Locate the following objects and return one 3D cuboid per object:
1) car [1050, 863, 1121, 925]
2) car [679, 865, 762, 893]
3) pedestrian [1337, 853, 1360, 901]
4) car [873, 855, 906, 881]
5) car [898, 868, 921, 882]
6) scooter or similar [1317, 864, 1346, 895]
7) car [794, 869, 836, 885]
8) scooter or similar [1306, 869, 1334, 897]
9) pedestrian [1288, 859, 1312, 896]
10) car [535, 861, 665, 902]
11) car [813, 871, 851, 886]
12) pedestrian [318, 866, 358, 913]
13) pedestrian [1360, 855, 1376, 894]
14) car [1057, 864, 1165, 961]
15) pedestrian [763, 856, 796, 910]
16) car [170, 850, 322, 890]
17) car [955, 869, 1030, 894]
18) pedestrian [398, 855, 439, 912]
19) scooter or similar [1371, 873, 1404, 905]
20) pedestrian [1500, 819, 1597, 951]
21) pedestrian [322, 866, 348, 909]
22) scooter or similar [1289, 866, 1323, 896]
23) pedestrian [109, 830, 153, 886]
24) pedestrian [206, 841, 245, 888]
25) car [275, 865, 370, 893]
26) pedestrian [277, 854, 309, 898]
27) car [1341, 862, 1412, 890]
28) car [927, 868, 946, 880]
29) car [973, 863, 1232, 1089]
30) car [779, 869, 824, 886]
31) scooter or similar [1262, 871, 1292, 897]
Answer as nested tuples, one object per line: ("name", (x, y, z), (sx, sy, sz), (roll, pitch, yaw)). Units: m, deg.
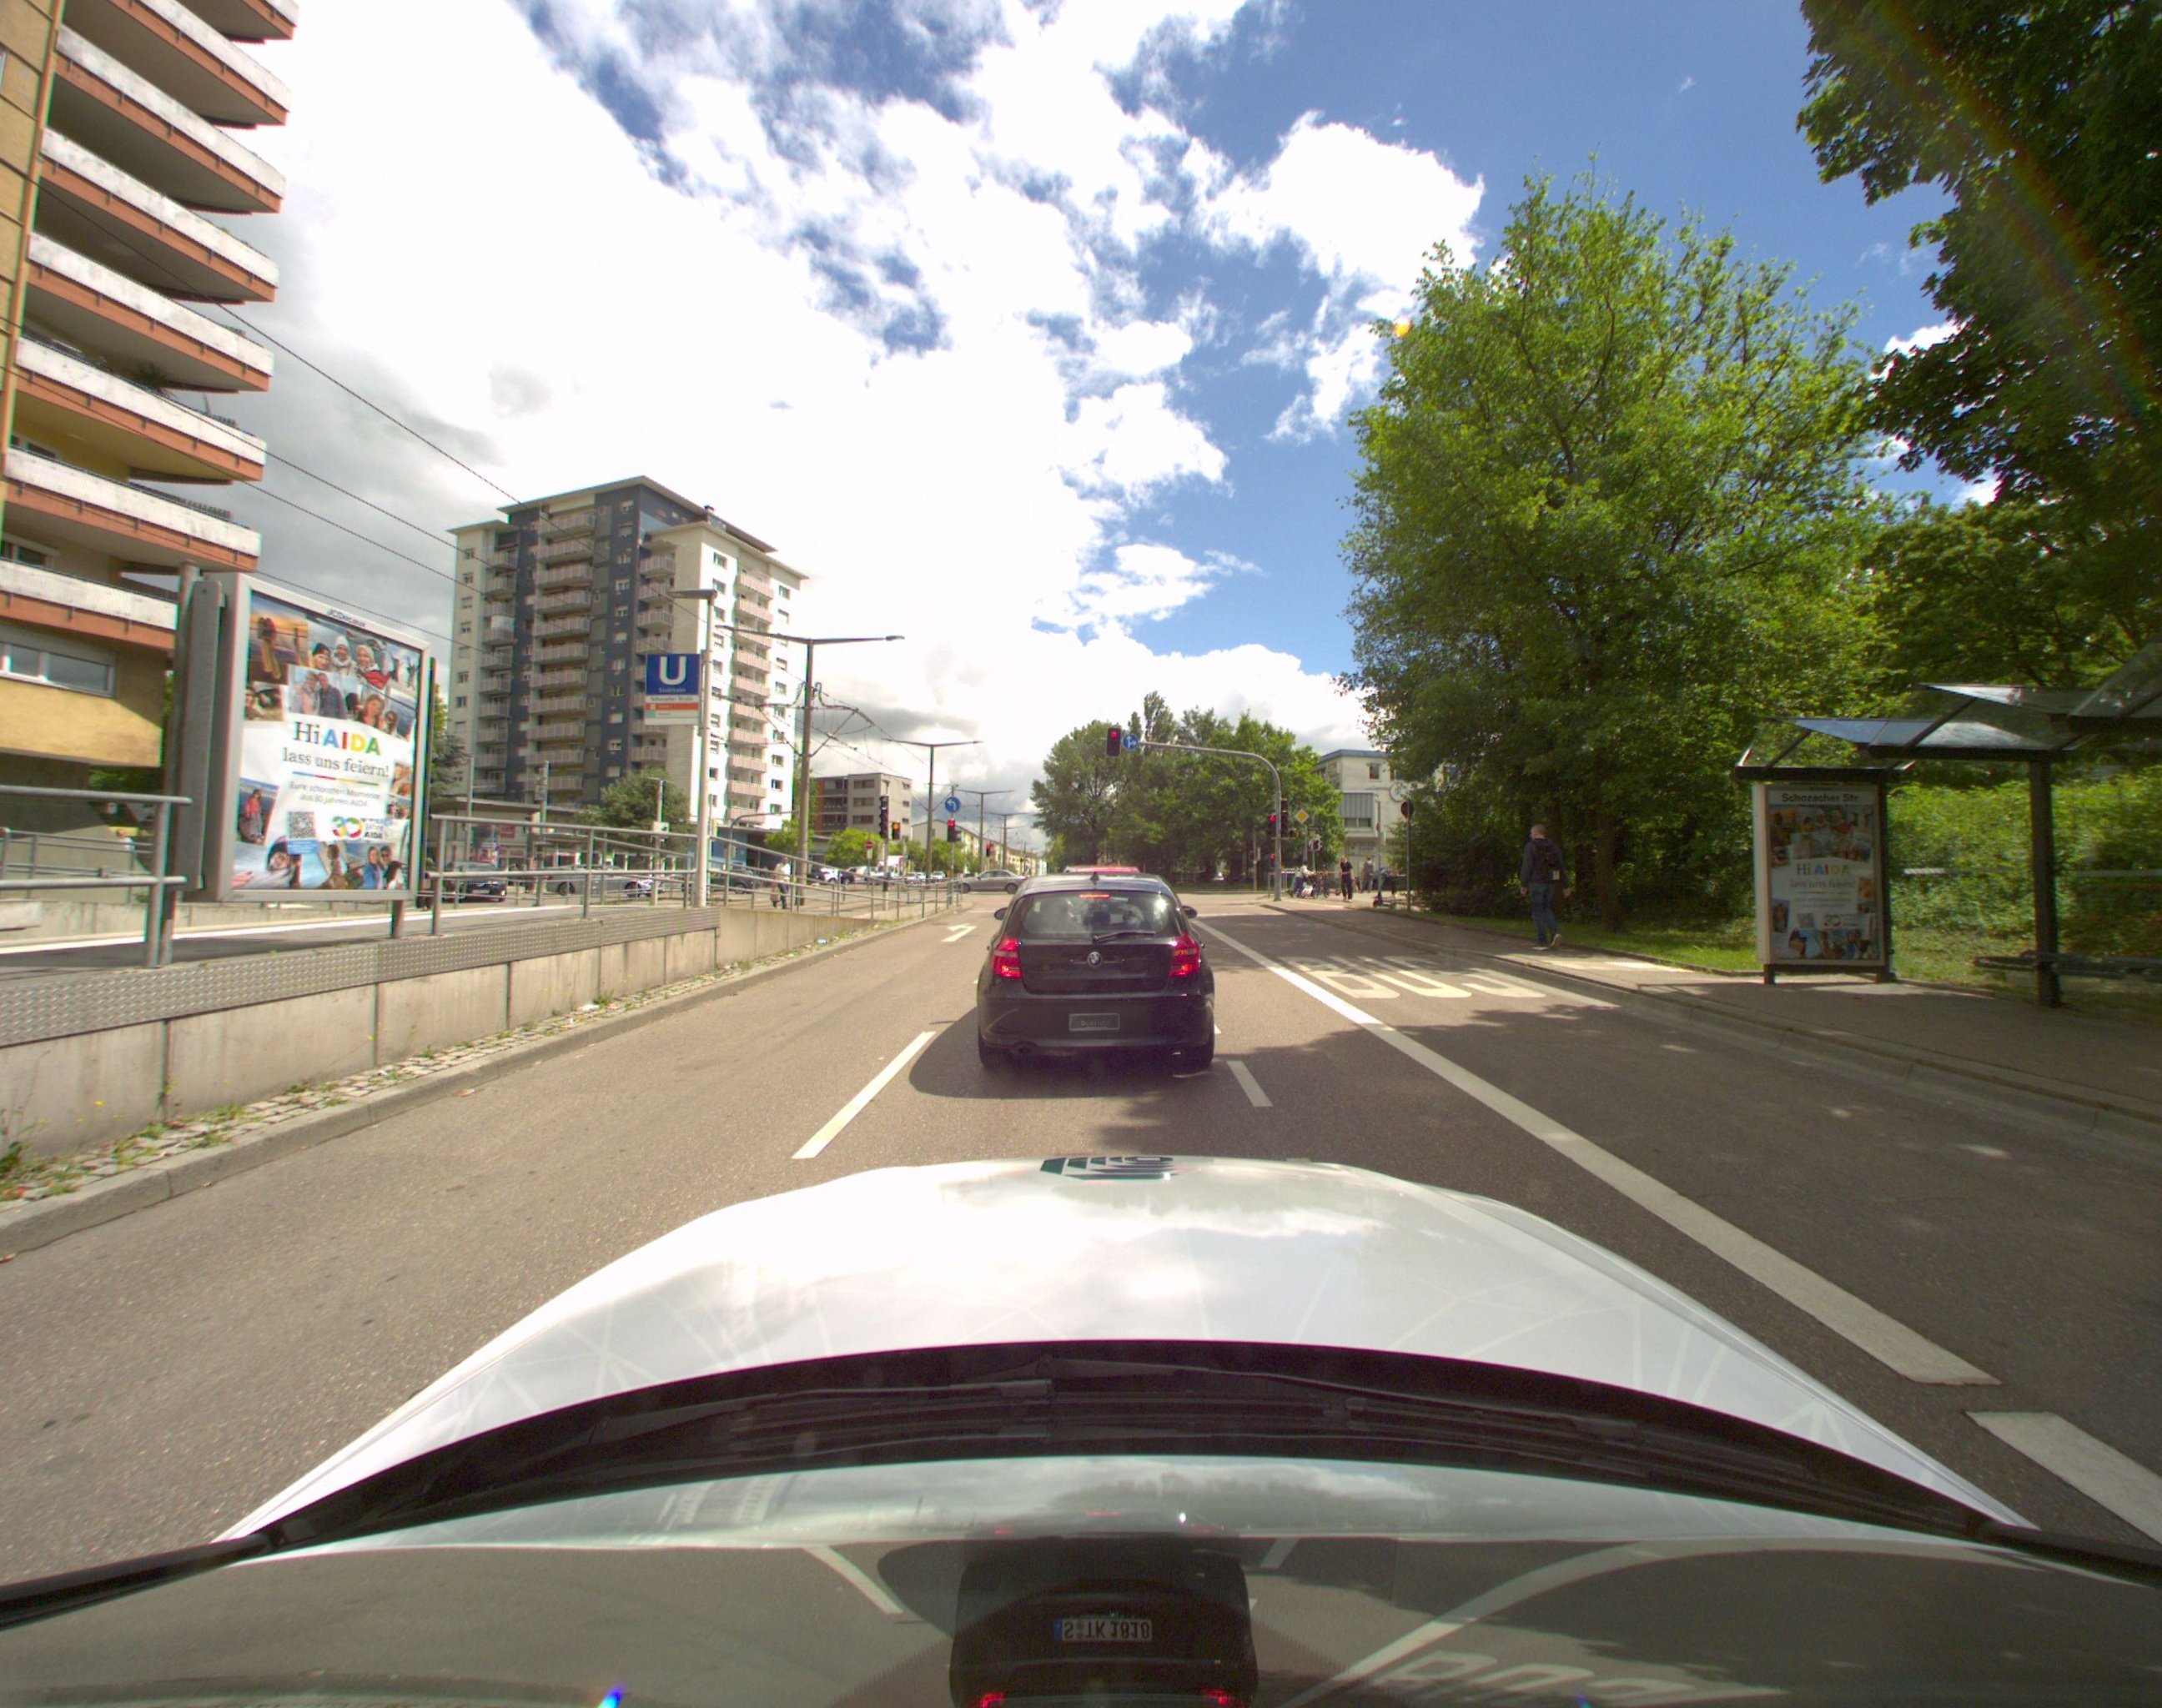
("car", (0.113, 0.961, 20.878), (1.649, 1.419, 3.516), (0, 0, 0))
("car", (-20.413, 1.407, 46.255), (3.983, 1.526, 1.671), (0, -1, -7))
("pedestrian", (10.240, 0.863, 31.190), (0.754, 1.790, 0.571), (3, -1, 17))
("car", (-20.441, 1.487, 87.158), (2.132, 2.640, 5.358), (0, -1, 0))
("car", (-20.755, 2.578, 98.890), (1.960, 1.596, 3.999), (0, -1, 0))
("scooter or similar", (10.389, 1.065, 33.829), (1.107, 1.258, 0.331), (-1, -1, -10))
("car", (-25.732, 2.178, 78.807), (3.600, 1.462, 1.613), (-1, -1, -7))
("scooter or similar", (9.316, 1.115, 31.720), (0.405, 1.051, 1.797), (-1, 0, 38))
("pedestrian", (8.555, 0.907, 31.826), (0.859, 1.443, 0.801), (-1, -1, 14))
("car", (-21.077, 1.183, 35.839), (4.470, 1.693, 1.997), (0, -1, -4))
("car", (-26.233, 2.552, 85.806), (3.600, 1.462, 1.613), (-1, -1, -7))
("pedestrian", (-21.893, 1.037, 24.015), (0.691, 1.343, 0.852), (0, -1, -29))
("pedestrian", (13.262, 0.941, 37.660), (0.608, 1.790, 0.571), (3, -1, 20))
("car", (0.529, 0.886, 13.893), (1.588, 1.419, 3.519), (0, 0, 3))
("pedestrian", (-9.640, 0.905, 26.028), (0.849, 1.697, 0.693), (-1, -1, 41))
("car", (-36.359, 0.696, 35.567), (4.466, 1.693, 1.999), (0, -1, -2))
("car", (-5.222, 1.642, 48.270), (4.318, 1.394, 1.709), (0, -1, -7))
("pedestrian", (-19.638, 0.860, 24.144), (0.700, 1.633, 0.636), (-1, -1, -9))
("scooter or similar", (10.743, 1.218, 28.540), (1.153, 1.099, 0.329), (0, -1, -22))
("pedestrian", (7.098, 0.455, 12.430), (0.798, 1.895, 1.271), (1, -1, 3))
("pedestrian", (-23.682, 1.063, 25.840), (0.660, 1.343, 0.558), (-1, -1, 44))
("scooter or similar", (9.115, 1.093, 33.006), (1.290, 1.189, 0.383), (-1, -1, -14))
("pedestrian", (-29.537, 0.120, 25.325), (0.816, 1.706, 0.686), (-1, -1, 25))
("pedestrian", (-28.947, 0.359, 27.571), (0.625, 1.578, 0.853), (0, -1, -26))
("car", (-42.291, 1.375, 45.472), (3.600, 1.462, 1.613), (-1, -1, -7))
("pedestrian", (-29.215, 0.807, 30.209), (0.778, 1.583, 0.603), (0, -1, -38))
("car", (17.393, 1.299, 48.062), (3.578, 1.601, 1.705), (0, -1, -11))
("car", (-20.687, 2.879, 116.906), (1.960, 1.596, 3.999), (0, -1, 0))
("car", (0.247, 0.802, 6.982), (1.647, 1.419, 3.520), (-1, 0, 4))
("car", (-25.537, 2.171, 74.412), (3.600, 1.462, 1.613), (-1, -1, -7))
("scooter or similar", (7.671, 1.171, 31.814), (1.121, 0.957, 0.299), (-1, -1, -14))
